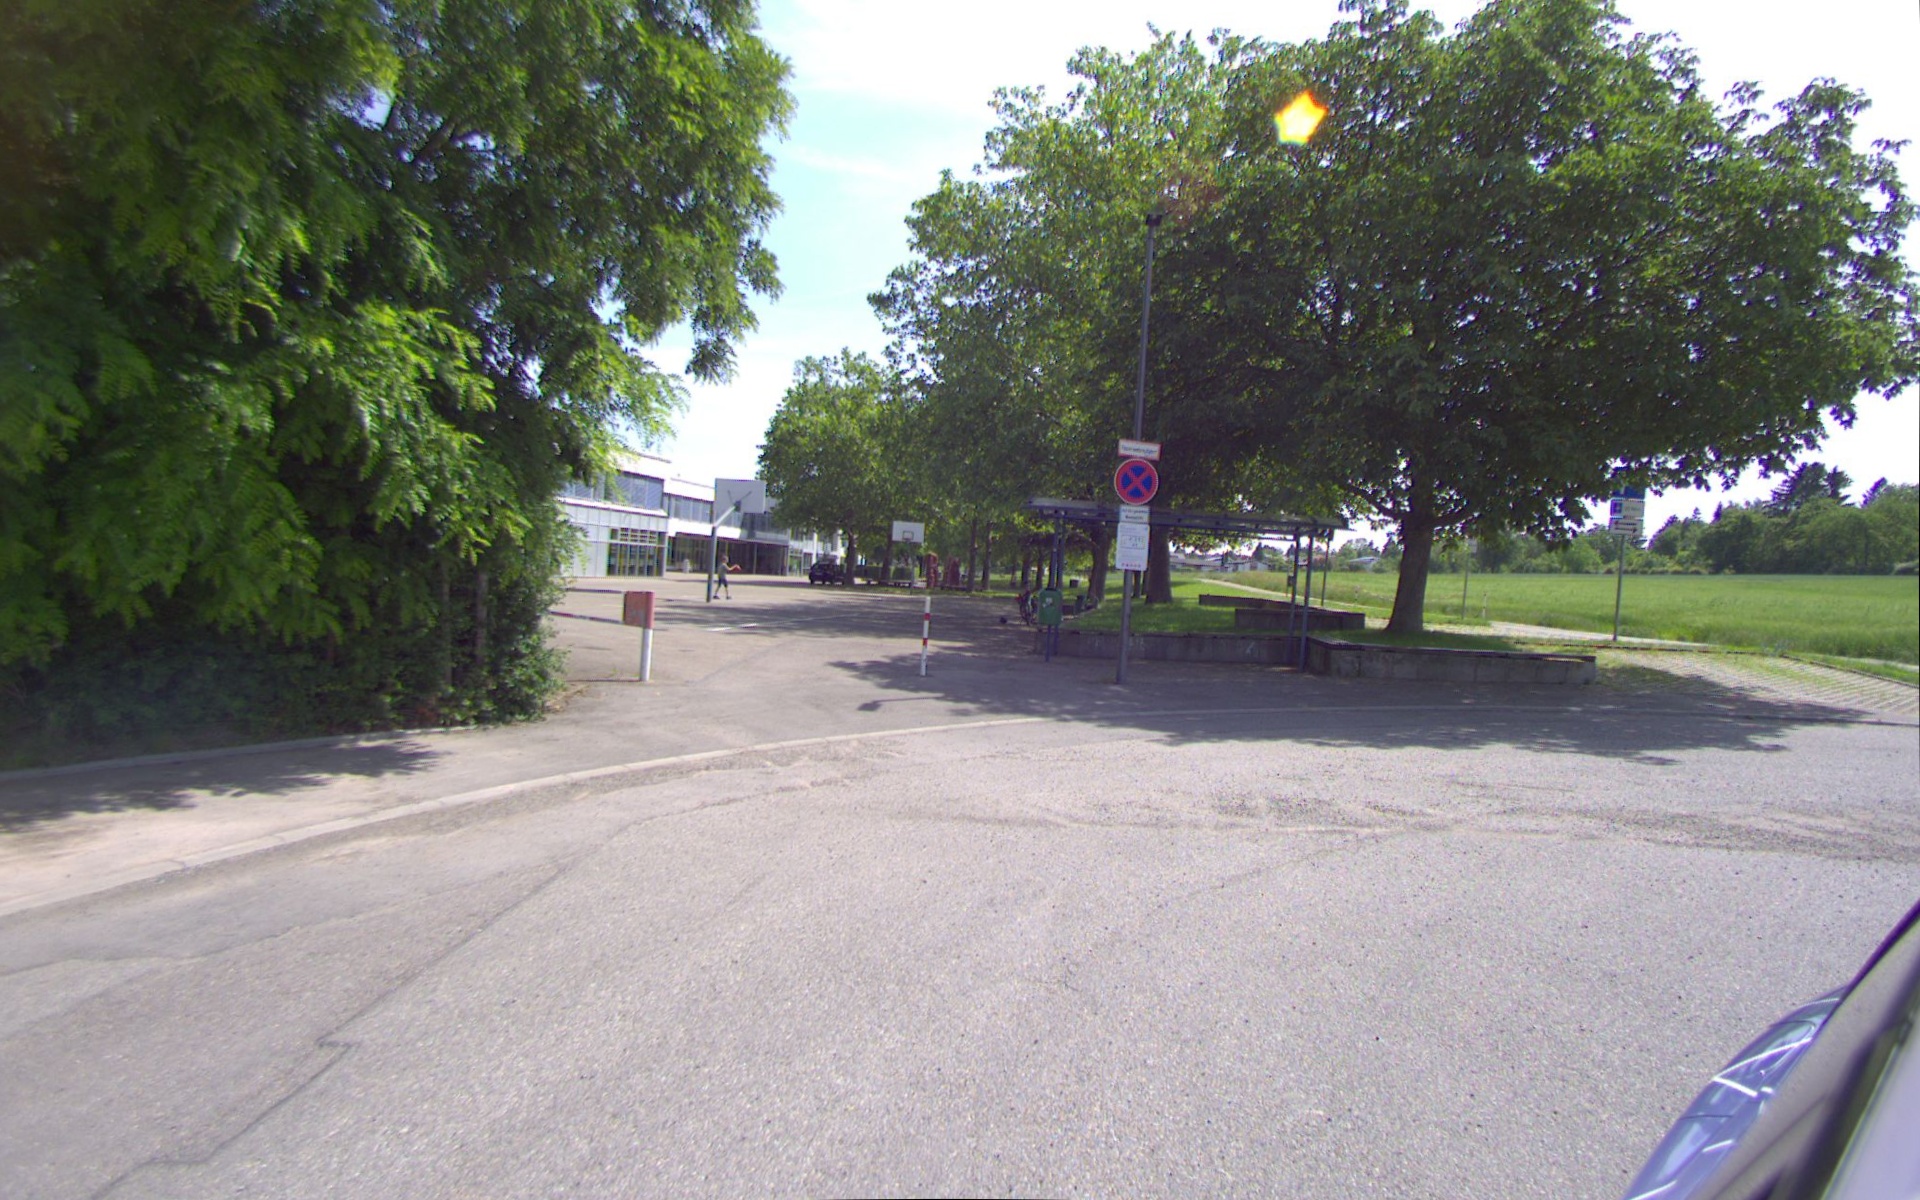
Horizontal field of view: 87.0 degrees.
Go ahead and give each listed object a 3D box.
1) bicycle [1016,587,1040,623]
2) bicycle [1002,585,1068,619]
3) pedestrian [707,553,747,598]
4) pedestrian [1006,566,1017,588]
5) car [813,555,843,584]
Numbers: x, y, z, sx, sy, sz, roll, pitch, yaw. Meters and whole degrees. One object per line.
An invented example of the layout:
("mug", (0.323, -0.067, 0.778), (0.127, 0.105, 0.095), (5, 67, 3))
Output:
("bicycle", (2.092, 0.131, 30.916), (0.586, 1.052, 1.888), (2, 1, 8))
("bicycle", (2.428, 0.066, 32.830), (2.027, 1.052, 0.573), (2, 1, -6))
("pedestrian", (-7.875, -0.837, 34.169), (1.047, 1.441, 0.921), (3, 0, -27))
("pedestrian", (4.912, -2.222, 97.099), (0.817, 2.039, 0.693), (3, 0, -15))
("car", (-9.083, -2.075, 69.859), (1.664, 1.857, 3.412), (2, 1, -1))
